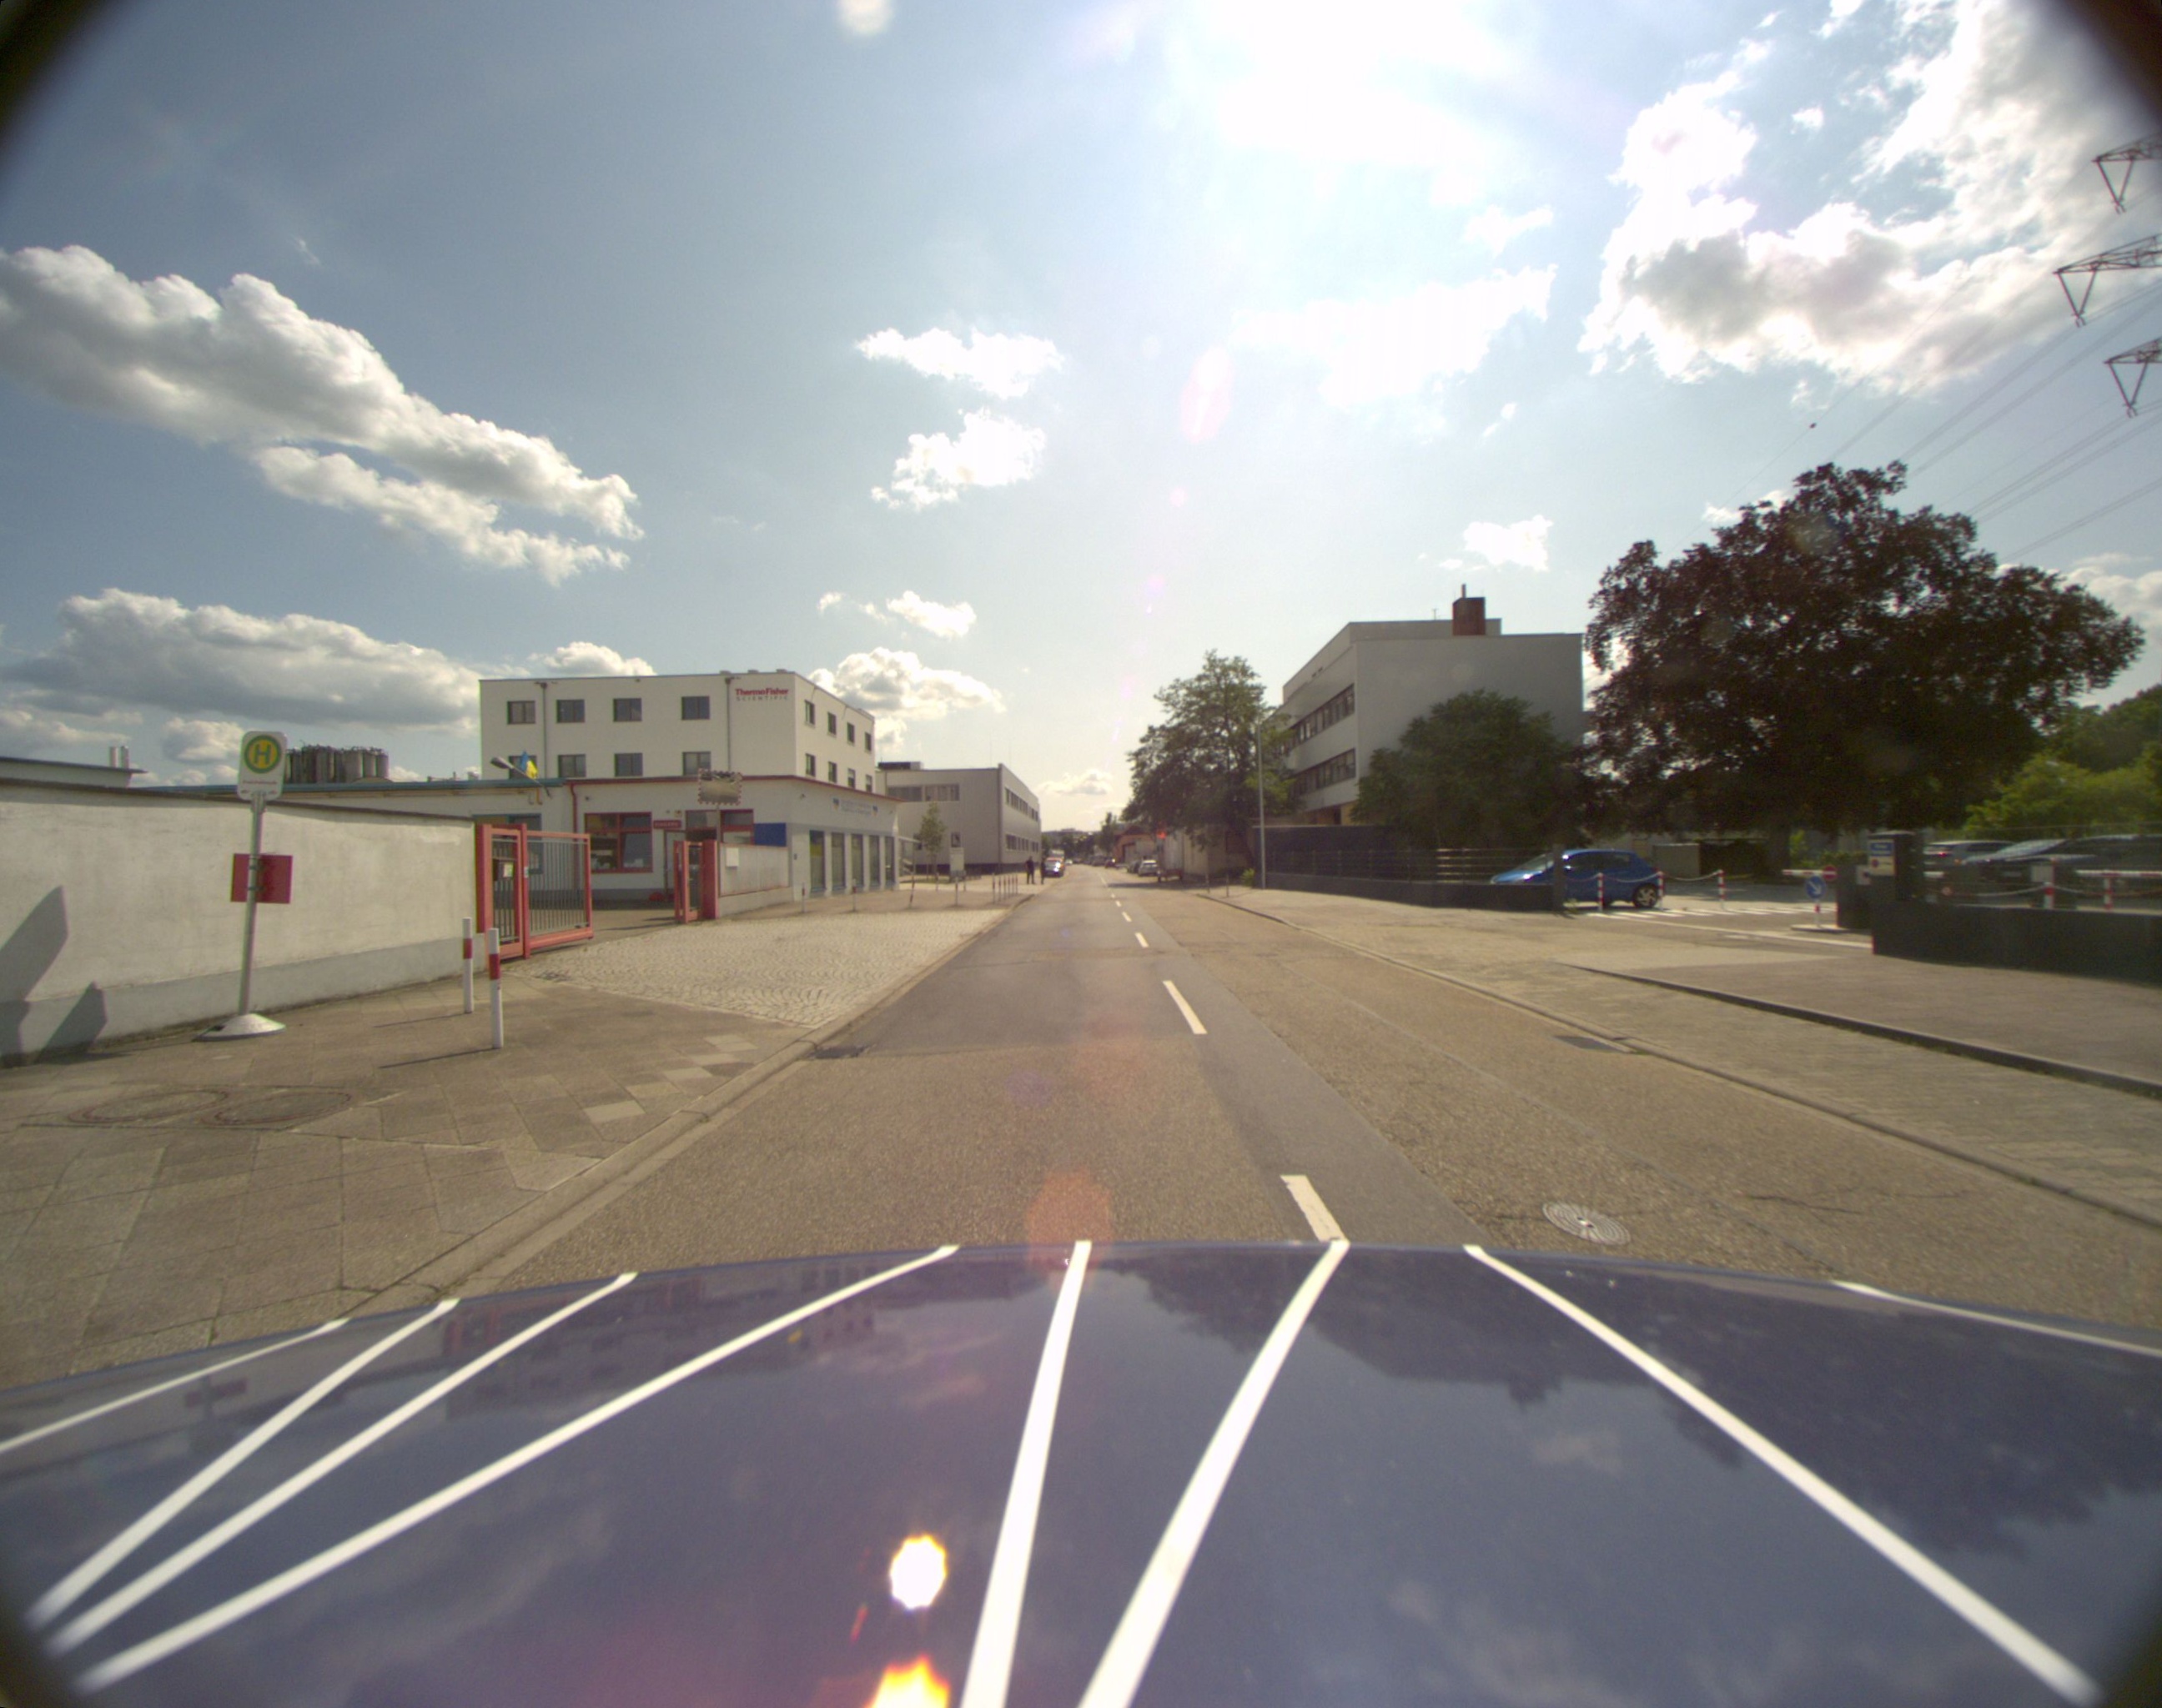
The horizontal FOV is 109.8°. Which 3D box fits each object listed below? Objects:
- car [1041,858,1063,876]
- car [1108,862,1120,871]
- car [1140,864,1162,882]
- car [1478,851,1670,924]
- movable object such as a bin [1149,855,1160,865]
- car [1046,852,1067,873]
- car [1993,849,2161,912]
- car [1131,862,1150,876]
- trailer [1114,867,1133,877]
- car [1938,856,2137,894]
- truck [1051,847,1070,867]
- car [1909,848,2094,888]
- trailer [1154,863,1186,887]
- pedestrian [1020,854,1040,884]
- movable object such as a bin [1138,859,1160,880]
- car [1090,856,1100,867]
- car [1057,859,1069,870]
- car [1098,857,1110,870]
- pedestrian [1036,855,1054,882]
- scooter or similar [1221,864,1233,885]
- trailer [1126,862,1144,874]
[{"bbox_3d":[-2.619,1.178,70.168,1.663,1.548,4.178,-4,0,2],"label":"car"},{"bbox_3d":[5.652,2.190,132.105,1.714,1.459,4.629,-4,0,-1],"label":"car"},{"bbox_3d":[6.487,1.755,70.710,1.677,1.447,4.513,-3,0,1],"label":"car"},{"bbox_3d":[12.390,0.812,19.273,3.657,1.698,1.879,-1,0,0],"label":"car"},{"bbox_3d":[10.250,0.823,106.239,1.319,1.419,1.151,-1,0,-4],"label":"movable object such as a bin"},{"bbox_3d":[-2.429,0.852,76.403,1.877,1.881,4.452,-5,0,-1],"label":"car"},{"bbox_3d":[26.346,0.647,19.238,4.207,1.493,1.681,-1,0,5],"label":"car"},{"bbox_3d":[6.513,1.621,83.580,1.677,1.447,4.223,-3,0,0],"label":"car"},{"bbox_3d":[6.233,2.671,113.084,2.457,1.157,6.052,-3,0,0],"label":"trailer"},{"bbox_3d":[32.673,0.705,26.071,4.207,1.219,1.831,-1,0,5],"label":"car"},{"bbox_3d":[-3.579,0.505,131.692,2.608,3.207,8.074,-4,0,-4],"label":"truck"},{"bbox_3d":[33.590,0.493,27.831,4.291,1.400,1.831,-1,0,5],"label":"car"},{"bbox_3d":[6.310,1.465,54.402,1.771,1.430,4.336,-4,0,1],"label":"trailer"},{"bbox_3d":[-3.391,0.960,50.395,0.994,1.940,1.089,-1,0,-22],"label":"pedestrian"},{"bbox_3d":[6.827,1.525,76.346,1.618,1.907,5.138,-5,0,0],"label":"movable object such as a bin"},{"bbox_3d":[3.521,1.849,187.220,1.999,2.556,5.823,-4,0,-2],"label":"car"},{"bbox_3d":[-2.733,1.545,116.577,1.715,1.502,4.114,-4,0,-2],"label":"car"},{"bbox_3d":[4.935,2.034,163.691,2.079,2.527,5.823,-4,0,-2],"label":"car"},{"bbox_3d":[-2.402,0.949,50.780,0.860,1.797,1.003,-1,0,-22],"label":"pedestrian"},{"bbox_3d":[9.521,1.340,49.487,0.483,1.271,1.361,-4,0,1],"label":"scooter or similar"},{"bbox_3d":[6.660,1.708,94.454,1.772,1.368,5.050,-3,0,-1],"label":"trailer"}]
